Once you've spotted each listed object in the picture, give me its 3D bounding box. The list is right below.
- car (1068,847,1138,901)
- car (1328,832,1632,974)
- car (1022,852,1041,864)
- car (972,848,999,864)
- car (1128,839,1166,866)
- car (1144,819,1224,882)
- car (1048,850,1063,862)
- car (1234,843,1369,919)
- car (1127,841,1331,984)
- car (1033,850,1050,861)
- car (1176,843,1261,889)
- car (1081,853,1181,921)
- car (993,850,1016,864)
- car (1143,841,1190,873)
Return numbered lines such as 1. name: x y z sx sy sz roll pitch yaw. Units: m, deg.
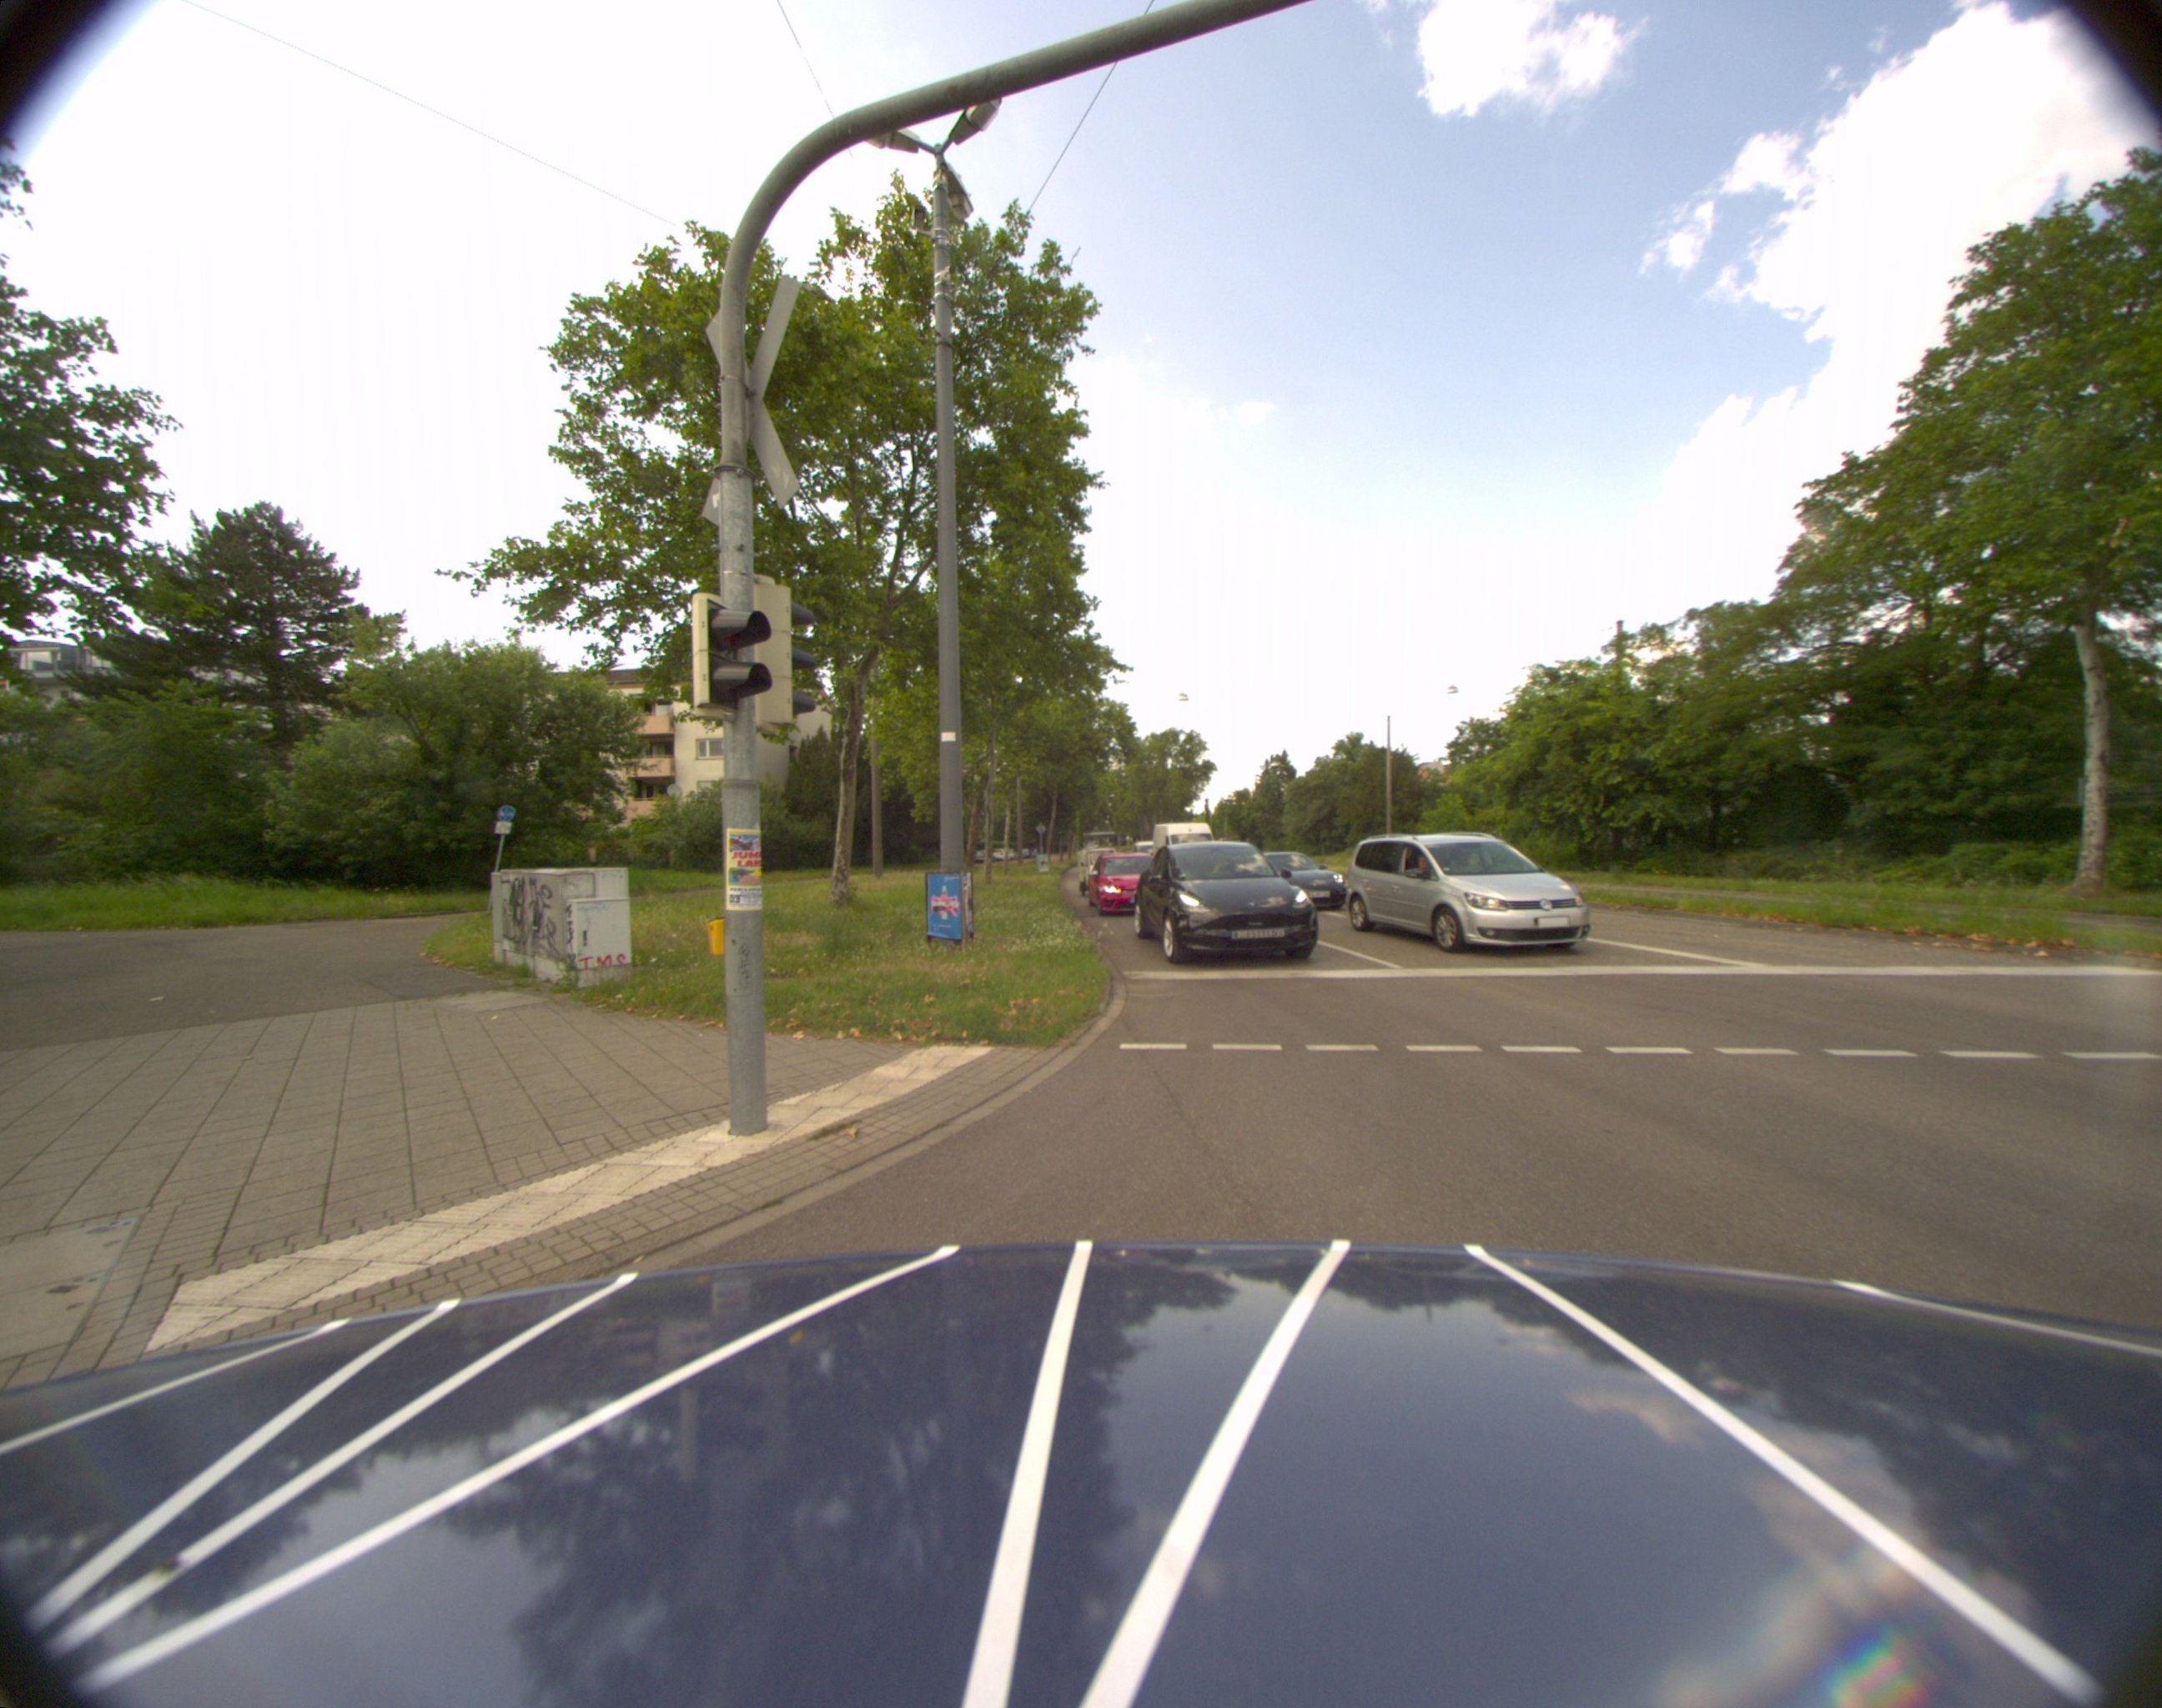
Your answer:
1. car: 0.634 0.588 25.581 1.801 1.561 4.499 -3 1 -5
2. car: 5.627 0.556 11.526 1.930 1.642 4.499 -3 1 -5
3. car: -6.894 0.609 106.443 1.774 1.586 3.660 -1 -1 11
4. car: -10.305 0.228 82.193 1.774 1.586 3.660 -1 -1 11
5. car: 4.262 -0.133 49.792 1.764 1.637 4.340 -1 1 -5
6. car: 4.479 -0.192 34.119 2.227 2.515 5.929 -3 1 -5
7. car: -4.161 0.287 124.917 1.774 1.925 3.660 -1 -1 11
8. car: 5.072 0.547 18.080 1.804 1.499 3.998 -3 1 -3
9. car: 1.950 0.674 11.542 1.931 1.642 4.577 -3 1 -3
10. car: -5.918 0.262 114.284 1.774 1.586 3.660 -1 -1 11
11. car: 4.602 0.341 26.070 1.764 1.367 4.340 -3 1 -5
12. car: 1.130 0.727 19.211 1.801 1.383 4.499 -3 1 -5
13. car: -9.177 0.374 91.297 1.774 1.586 3.660 -1 -1 11
14. car: 4.659 0.121 41.775 1.843 1.609 4.154 -2 1 -3
